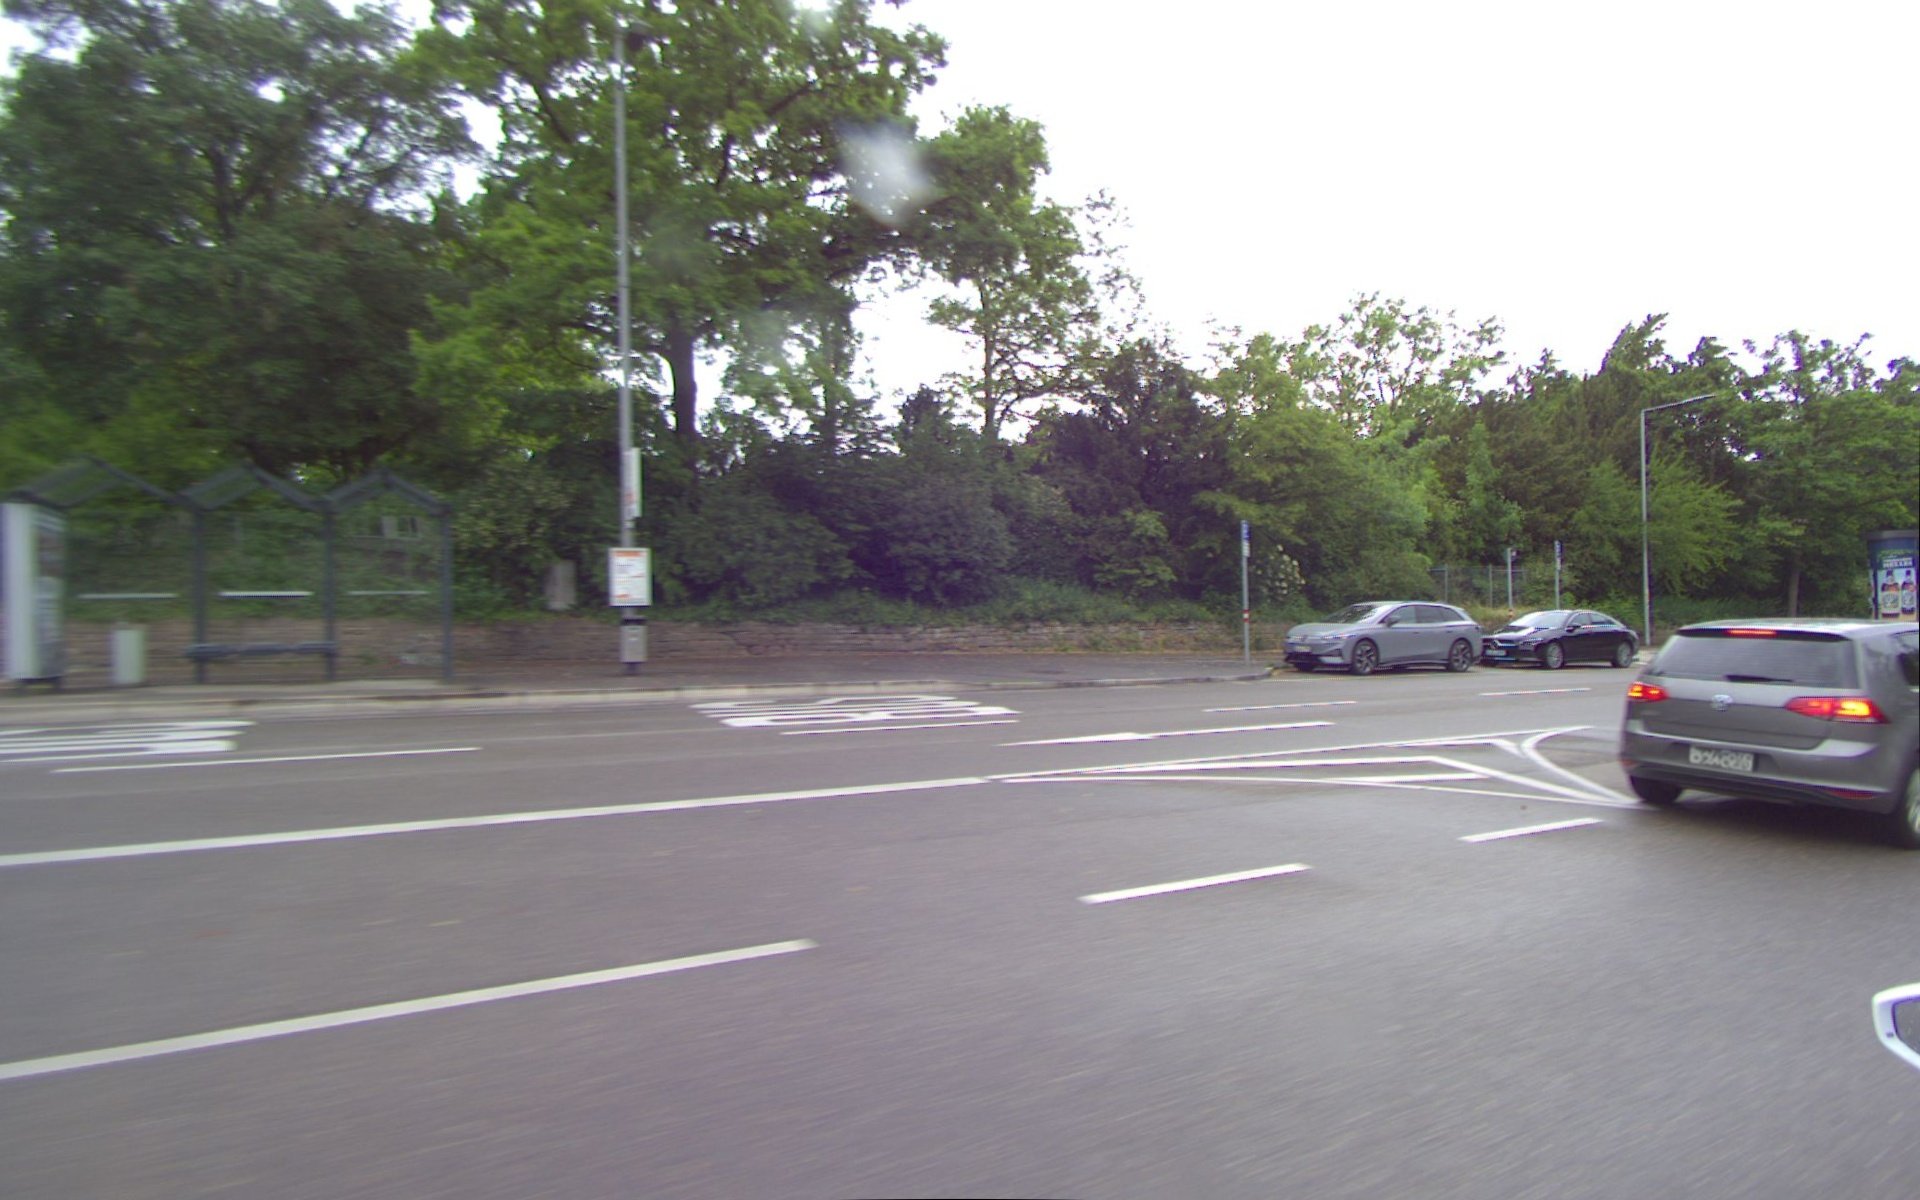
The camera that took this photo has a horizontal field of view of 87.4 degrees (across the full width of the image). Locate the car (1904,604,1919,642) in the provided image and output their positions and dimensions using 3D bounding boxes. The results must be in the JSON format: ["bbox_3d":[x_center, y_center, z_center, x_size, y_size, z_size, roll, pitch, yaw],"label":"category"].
[{"bbox_3d":[39.197,0.880,39.270,4.522,1.464,1.745,0,0,-24],"label":"car"}]

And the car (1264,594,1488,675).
[{"bbox_3d":[9.177,0.716,22.067,4.865,1.610,1.834,1,0,-27],"label":"car"}]

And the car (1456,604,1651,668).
[{"bbox_3d":[14.593,0.847,24.659,4.721,1.433,1.899,1,0,-27],"label":"car"}]

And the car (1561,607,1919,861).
[{"bbox_3d":[6.839,0.830,7.712,4.241,1.460,1.864,1,0,-28],"label":"car"}]
